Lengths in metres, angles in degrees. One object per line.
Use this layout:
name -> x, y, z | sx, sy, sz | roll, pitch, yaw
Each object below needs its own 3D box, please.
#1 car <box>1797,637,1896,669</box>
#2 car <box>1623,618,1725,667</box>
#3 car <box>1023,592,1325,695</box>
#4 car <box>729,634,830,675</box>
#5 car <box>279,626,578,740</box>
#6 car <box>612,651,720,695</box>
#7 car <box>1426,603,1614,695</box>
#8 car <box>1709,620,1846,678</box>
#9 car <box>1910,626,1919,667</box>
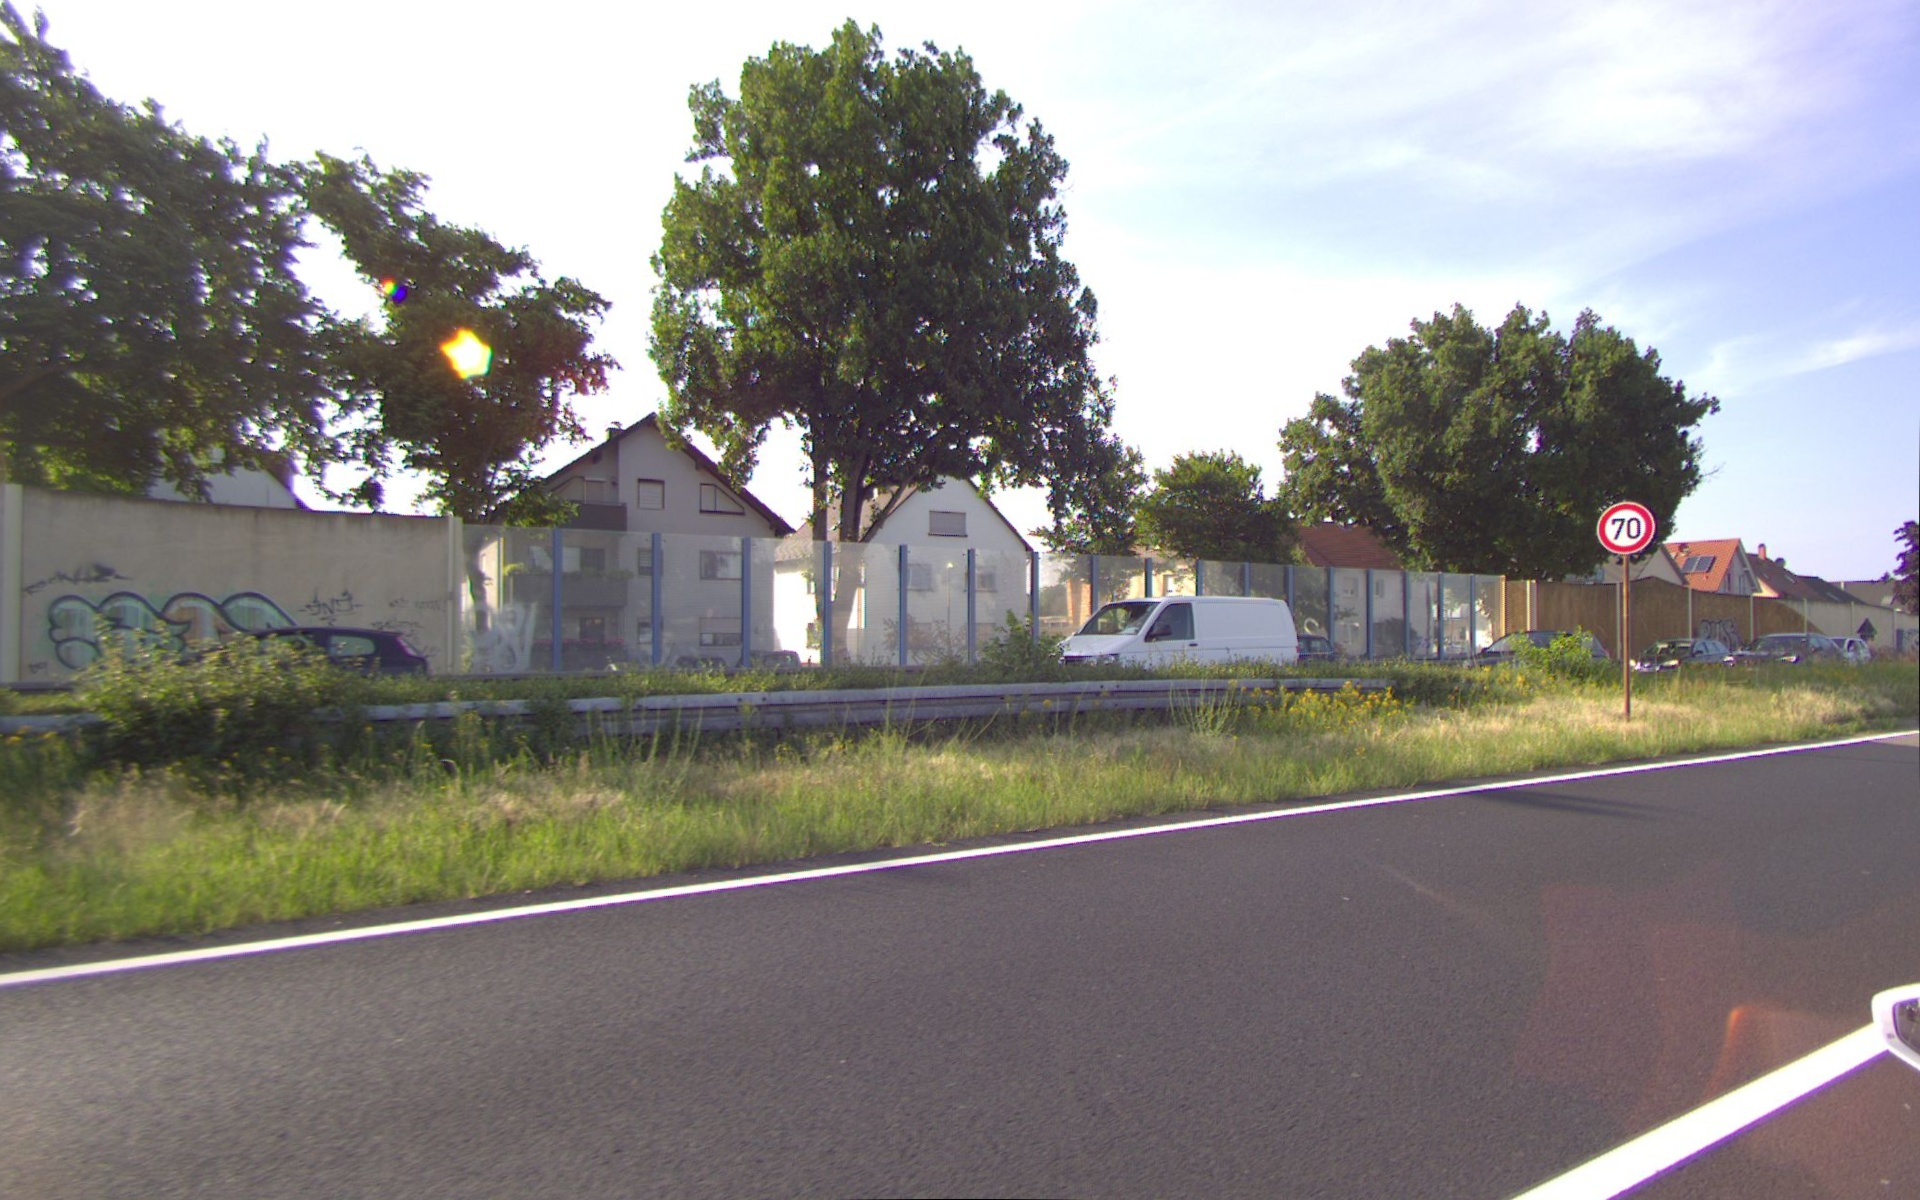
car -> 35.506, 2.102, 40.229 | 4.359, 1.120, 1.661 | 1, 0, -30
car -> 23.189, 1.362, 32.613 | 3.195, 1.484, 1.508 | 1, 0, -30
car -> 3.669, 0.688, 16.897 | 5.003, 1.503, 1.970 | 1, 0, -32
car -> -6.546, 1.964, 36.417 | 3.310, 1.396, 1.603 | 1, 0, -23
car -> -7.489, 1.109, 14.359 | 3.565, 1.397, 1.666 | 1, 0, -31
car -> -10.246, 2.511, 34.983 | 3.443, 1.393, 1.610 | 1, 0, -23
car -> 12.545, 1.044, 22.437 | 4.320, 1.857, 1.754 | 1, 0, -32
car -> 23.176, 1.364, 28.432 | 4.605, 1.484, 1.507 | 1, 0, -31
car -> 35.952, 1.712, 36.144 | 3.526, 1.461, 1.640 | 1, 0, -30
